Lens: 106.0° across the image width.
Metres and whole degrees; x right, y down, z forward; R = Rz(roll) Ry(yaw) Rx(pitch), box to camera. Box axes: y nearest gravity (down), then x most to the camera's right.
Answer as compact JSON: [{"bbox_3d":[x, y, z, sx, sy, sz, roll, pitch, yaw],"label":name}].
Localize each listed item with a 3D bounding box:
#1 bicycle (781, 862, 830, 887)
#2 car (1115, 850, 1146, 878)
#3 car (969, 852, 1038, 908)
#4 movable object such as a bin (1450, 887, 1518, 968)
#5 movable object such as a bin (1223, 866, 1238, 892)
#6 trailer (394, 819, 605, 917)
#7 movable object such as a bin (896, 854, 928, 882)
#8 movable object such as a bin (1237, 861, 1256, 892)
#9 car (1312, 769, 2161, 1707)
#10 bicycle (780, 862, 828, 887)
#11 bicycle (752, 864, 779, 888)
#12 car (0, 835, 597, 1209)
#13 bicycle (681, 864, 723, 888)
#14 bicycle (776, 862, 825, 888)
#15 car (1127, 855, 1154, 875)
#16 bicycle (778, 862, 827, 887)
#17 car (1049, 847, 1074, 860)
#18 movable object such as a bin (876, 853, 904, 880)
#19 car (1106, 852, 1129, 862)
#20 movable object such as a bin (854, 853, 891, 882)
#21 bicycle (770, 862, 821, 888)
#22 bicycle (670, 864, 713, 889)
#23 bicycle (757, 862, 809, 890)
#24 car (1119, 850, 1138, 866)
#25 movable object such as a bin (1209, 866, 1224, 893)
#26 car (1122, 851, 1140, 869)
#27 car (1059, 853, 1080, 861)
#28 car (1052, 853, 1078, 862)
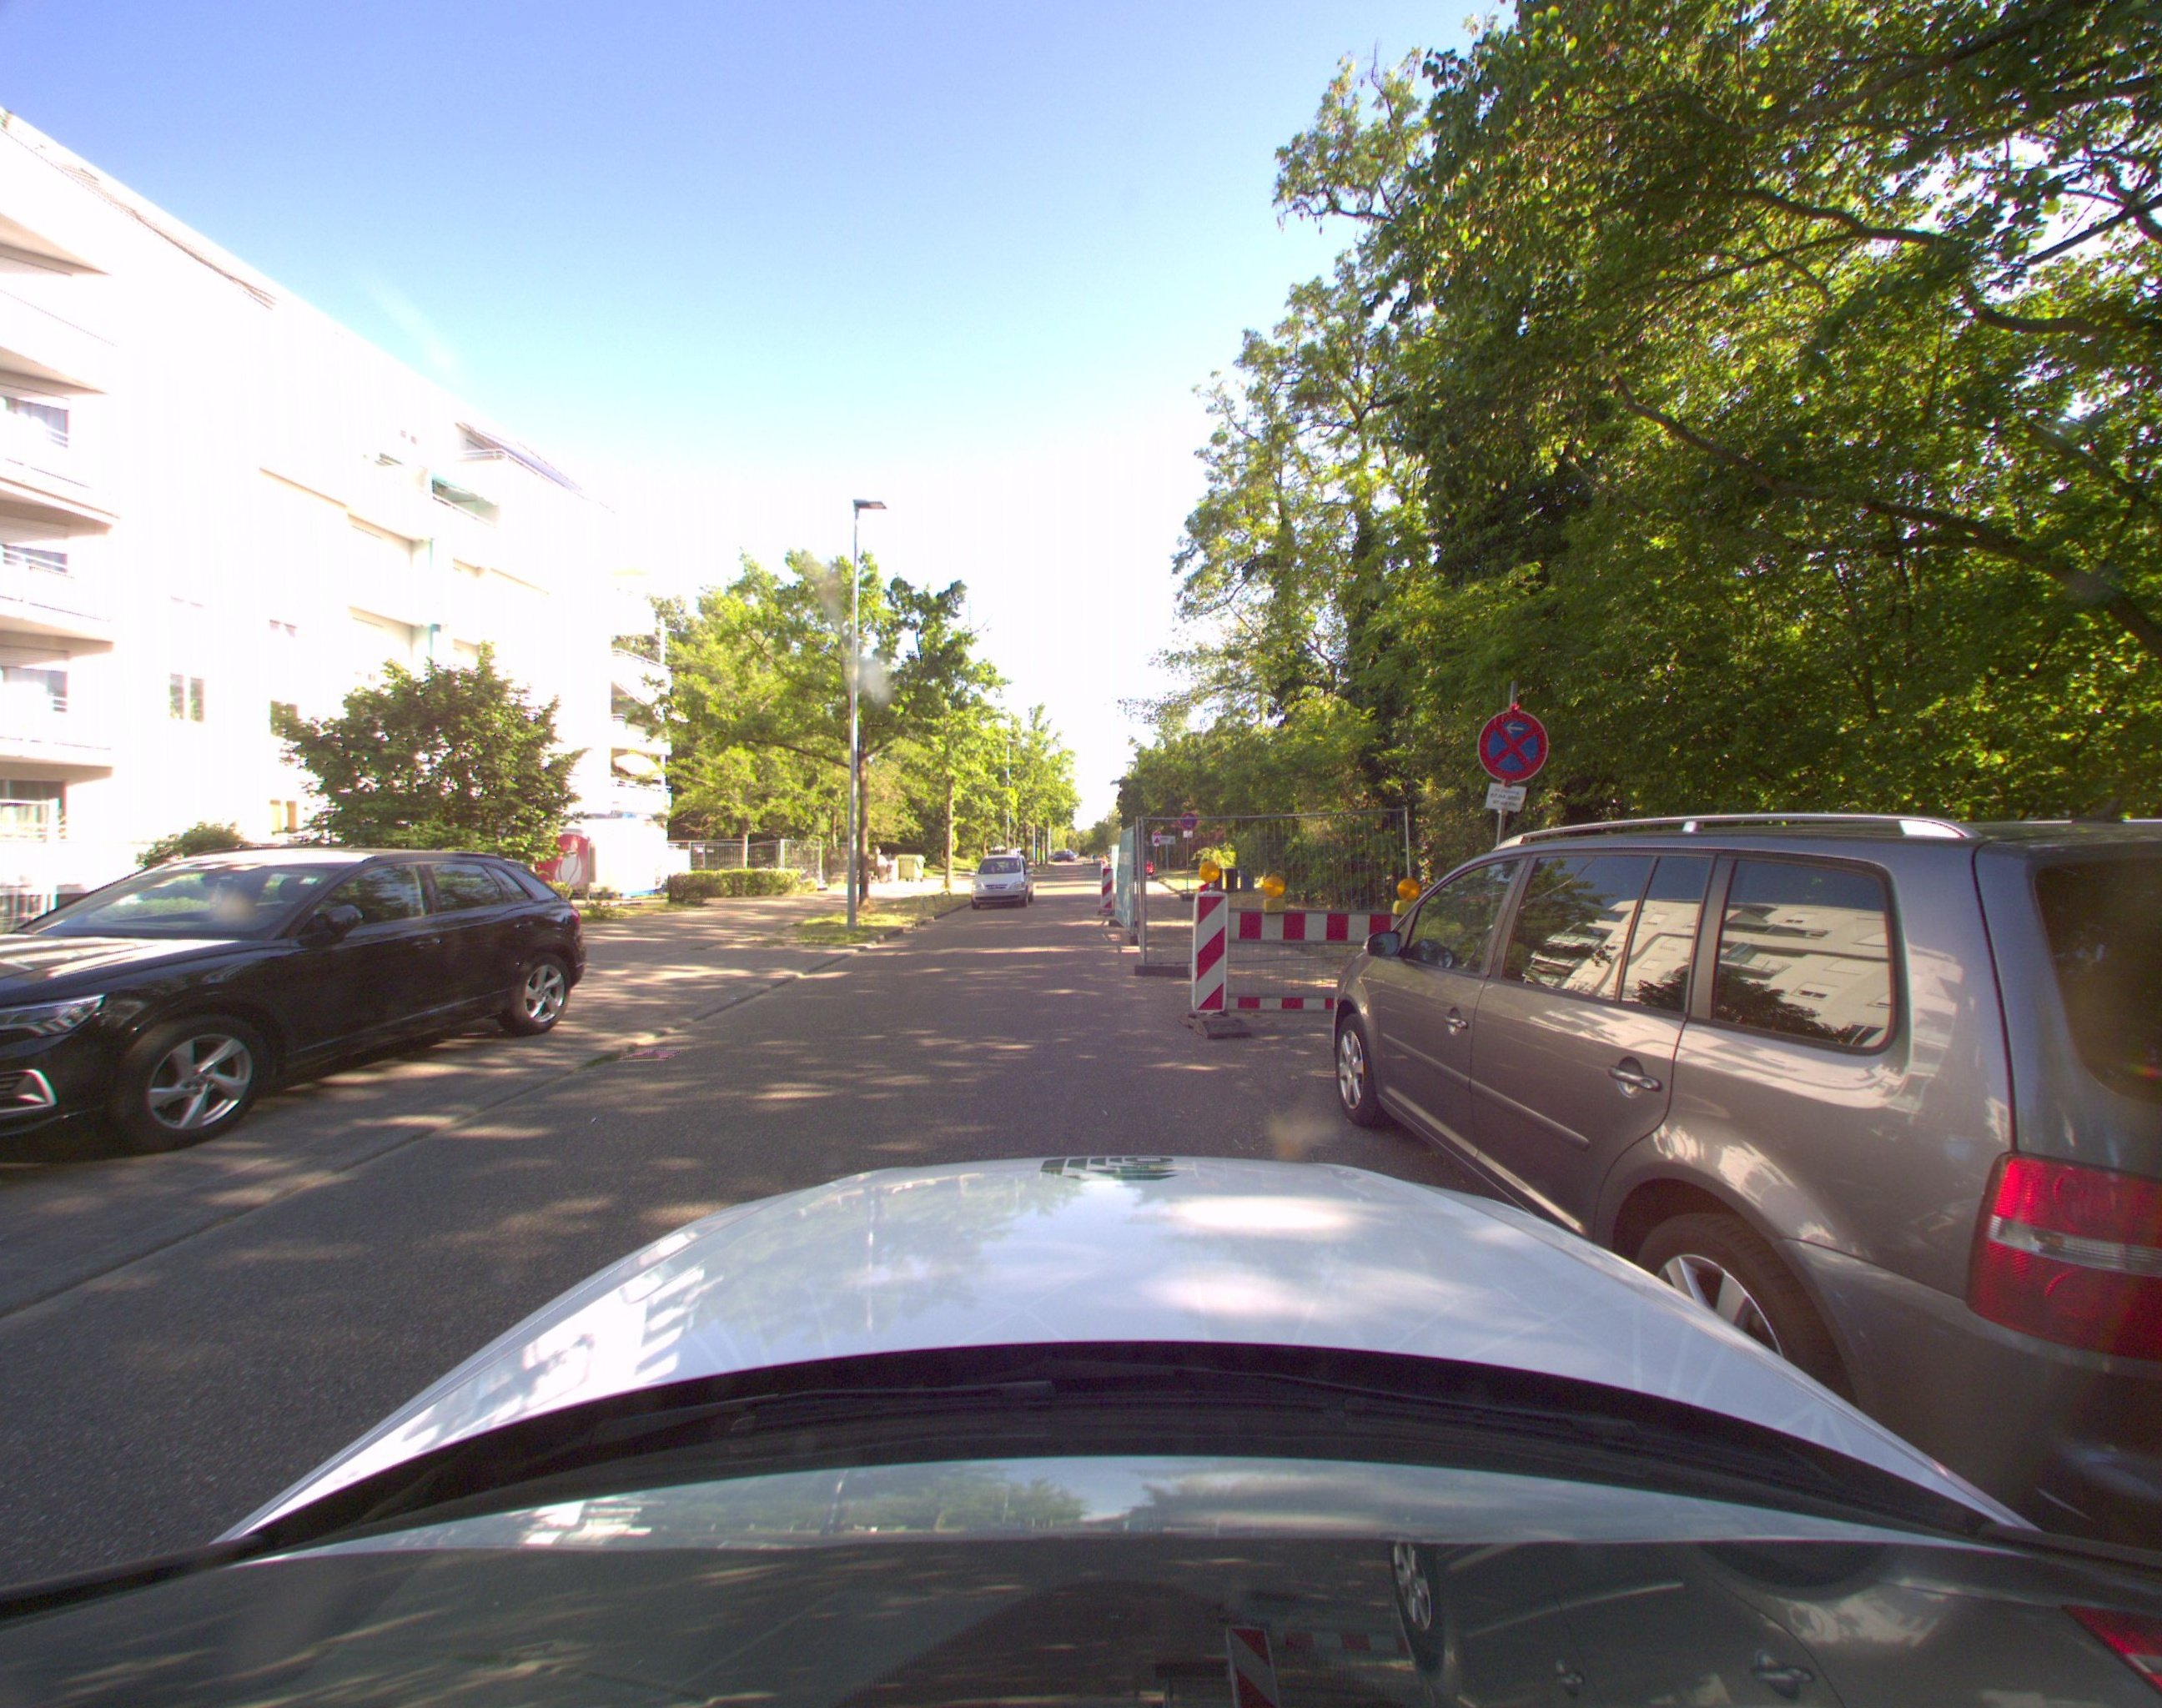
[{"bbox_3d":[-11.616,0.852,34.392,1.916,1.027,0.399,-1,-1,-12],"label":"bicycle"},{"bbox_3d":[3.216,0.626,51.922,1.801,1.651,4.427,1,0,5],"label":"car"},{"bbox_3d":[-2.371,0.761,25.817,1.653,1.596,4.010,-2,0,2],"label":"car"},{"bbox_3d":[4.517,0.814,9.157,0.482,0.861,0.559,0,0,-2],"label":"movable object such as a bin"},{"bbox_3d":[5.131,0.849,27.961,0.411,0.870,0.484,-2,-1,1],"label":"movable object such as a bin"},{"bbox_3d":[-14.221,0.306,20.294,1.855,2.120,4.351,1,0,5],"label":"trailer"},{"bbox_3d":[-9.014,0.734,43.471,1.259,1.435,1.187,-1,0,17],"label":"movable object such as a bin"},{"bbox_3d":[5.641,0.761,27.817,0.517,0.999,0.608,-2,-1,1],"label":"movable object such as a bin"},{"bbox_3d":[2.349,0.682,3.312,1.673,1.621,4.137,0,0,0],"label":"car"},{"bbox_3d":[-11.528,0.845,33.926,1.839,1.027,0.399,-1,-1,-12],"label":"bicycle"},{"bbox_3d":[-13.704,0.947,35.381,0.397,1.027,1.702,-1,-1,3],"label":"bicycle"},{"bbox_3d":[-5.551,0.716,5.644,1.769,1.621,4.221,1,0,1],"label":"car"},{"bbox_3d":[-16.292,0.950,34.999,1.686,1.027,0.401,-1,-1,6],"label":"bicycle"},{"bbox_3d":[-11.363,0.836,33.031,1.839,1.027,0.399,-1,-1,-12],"label":"bicycle"},{"bbox_3d":[4.260,0.765,58.500,1.655,1.375,4.155,1,0,1],"label":"car"},{"bbox_3d":[-11.463,0.843,33.504,1.860,1.027,0.399,-1,-1,-12],"label":"bicycle"},{"bbox_3d":[-4.172,-0.097,173.527,5.189,2.621,2.290,1,0,-4],"label":"car"},{"bbox_3d":[-10.588,0.702,45.197,1.149,1.435,1.260,-1,0,-33],"label":"movable object such as a bin"},{"bbox_3d":[6.421,0.528,143.646,3.817,1.576,1.692,1,0,7],"label":"car"},{"bbox_3d":[-10.854,0.692,42.346,1.257,1.435,1.334,-1,0,29],"label":"movable object such as a bin"},{"bbox_3d":[-11.399,0.832,32.558,1.856,1.027,0.399,-1,-1,-12],"label":"bicycle"},{"bbox_3d":[-16.414,0.950,34.324,1.686,1.027,0.401,-1,-1,6],"label":"bicycle"},{"bbox_3d":[-11.553,0.849,31.617,1.870,1.027,0.399,-1,-1,-12],"label":"bicycle"},{"bbox_3d":[5.507,0.471,94.243,1.786,1.785,4.553,1,0,-2],"label":"car"},{"bbox_3d":[4.640,0.869,27.877,0.411,0.870,0.484,-2,-1,1],"label":"movable object such as a bin"},{"bbox_3d":[5.059,0.555,82.937,1.617,1.773,3.670,1,0,1],"label":"car"},{"bbox_3d":[-2.404,0.577,164.560,4.090,1.576,1.960,1,0,3],"label":"car"},{"bbox_3d":[-2.925,0.637,148.256,4.294,1.576,2.050,1,0,7],"label":"car"}]
